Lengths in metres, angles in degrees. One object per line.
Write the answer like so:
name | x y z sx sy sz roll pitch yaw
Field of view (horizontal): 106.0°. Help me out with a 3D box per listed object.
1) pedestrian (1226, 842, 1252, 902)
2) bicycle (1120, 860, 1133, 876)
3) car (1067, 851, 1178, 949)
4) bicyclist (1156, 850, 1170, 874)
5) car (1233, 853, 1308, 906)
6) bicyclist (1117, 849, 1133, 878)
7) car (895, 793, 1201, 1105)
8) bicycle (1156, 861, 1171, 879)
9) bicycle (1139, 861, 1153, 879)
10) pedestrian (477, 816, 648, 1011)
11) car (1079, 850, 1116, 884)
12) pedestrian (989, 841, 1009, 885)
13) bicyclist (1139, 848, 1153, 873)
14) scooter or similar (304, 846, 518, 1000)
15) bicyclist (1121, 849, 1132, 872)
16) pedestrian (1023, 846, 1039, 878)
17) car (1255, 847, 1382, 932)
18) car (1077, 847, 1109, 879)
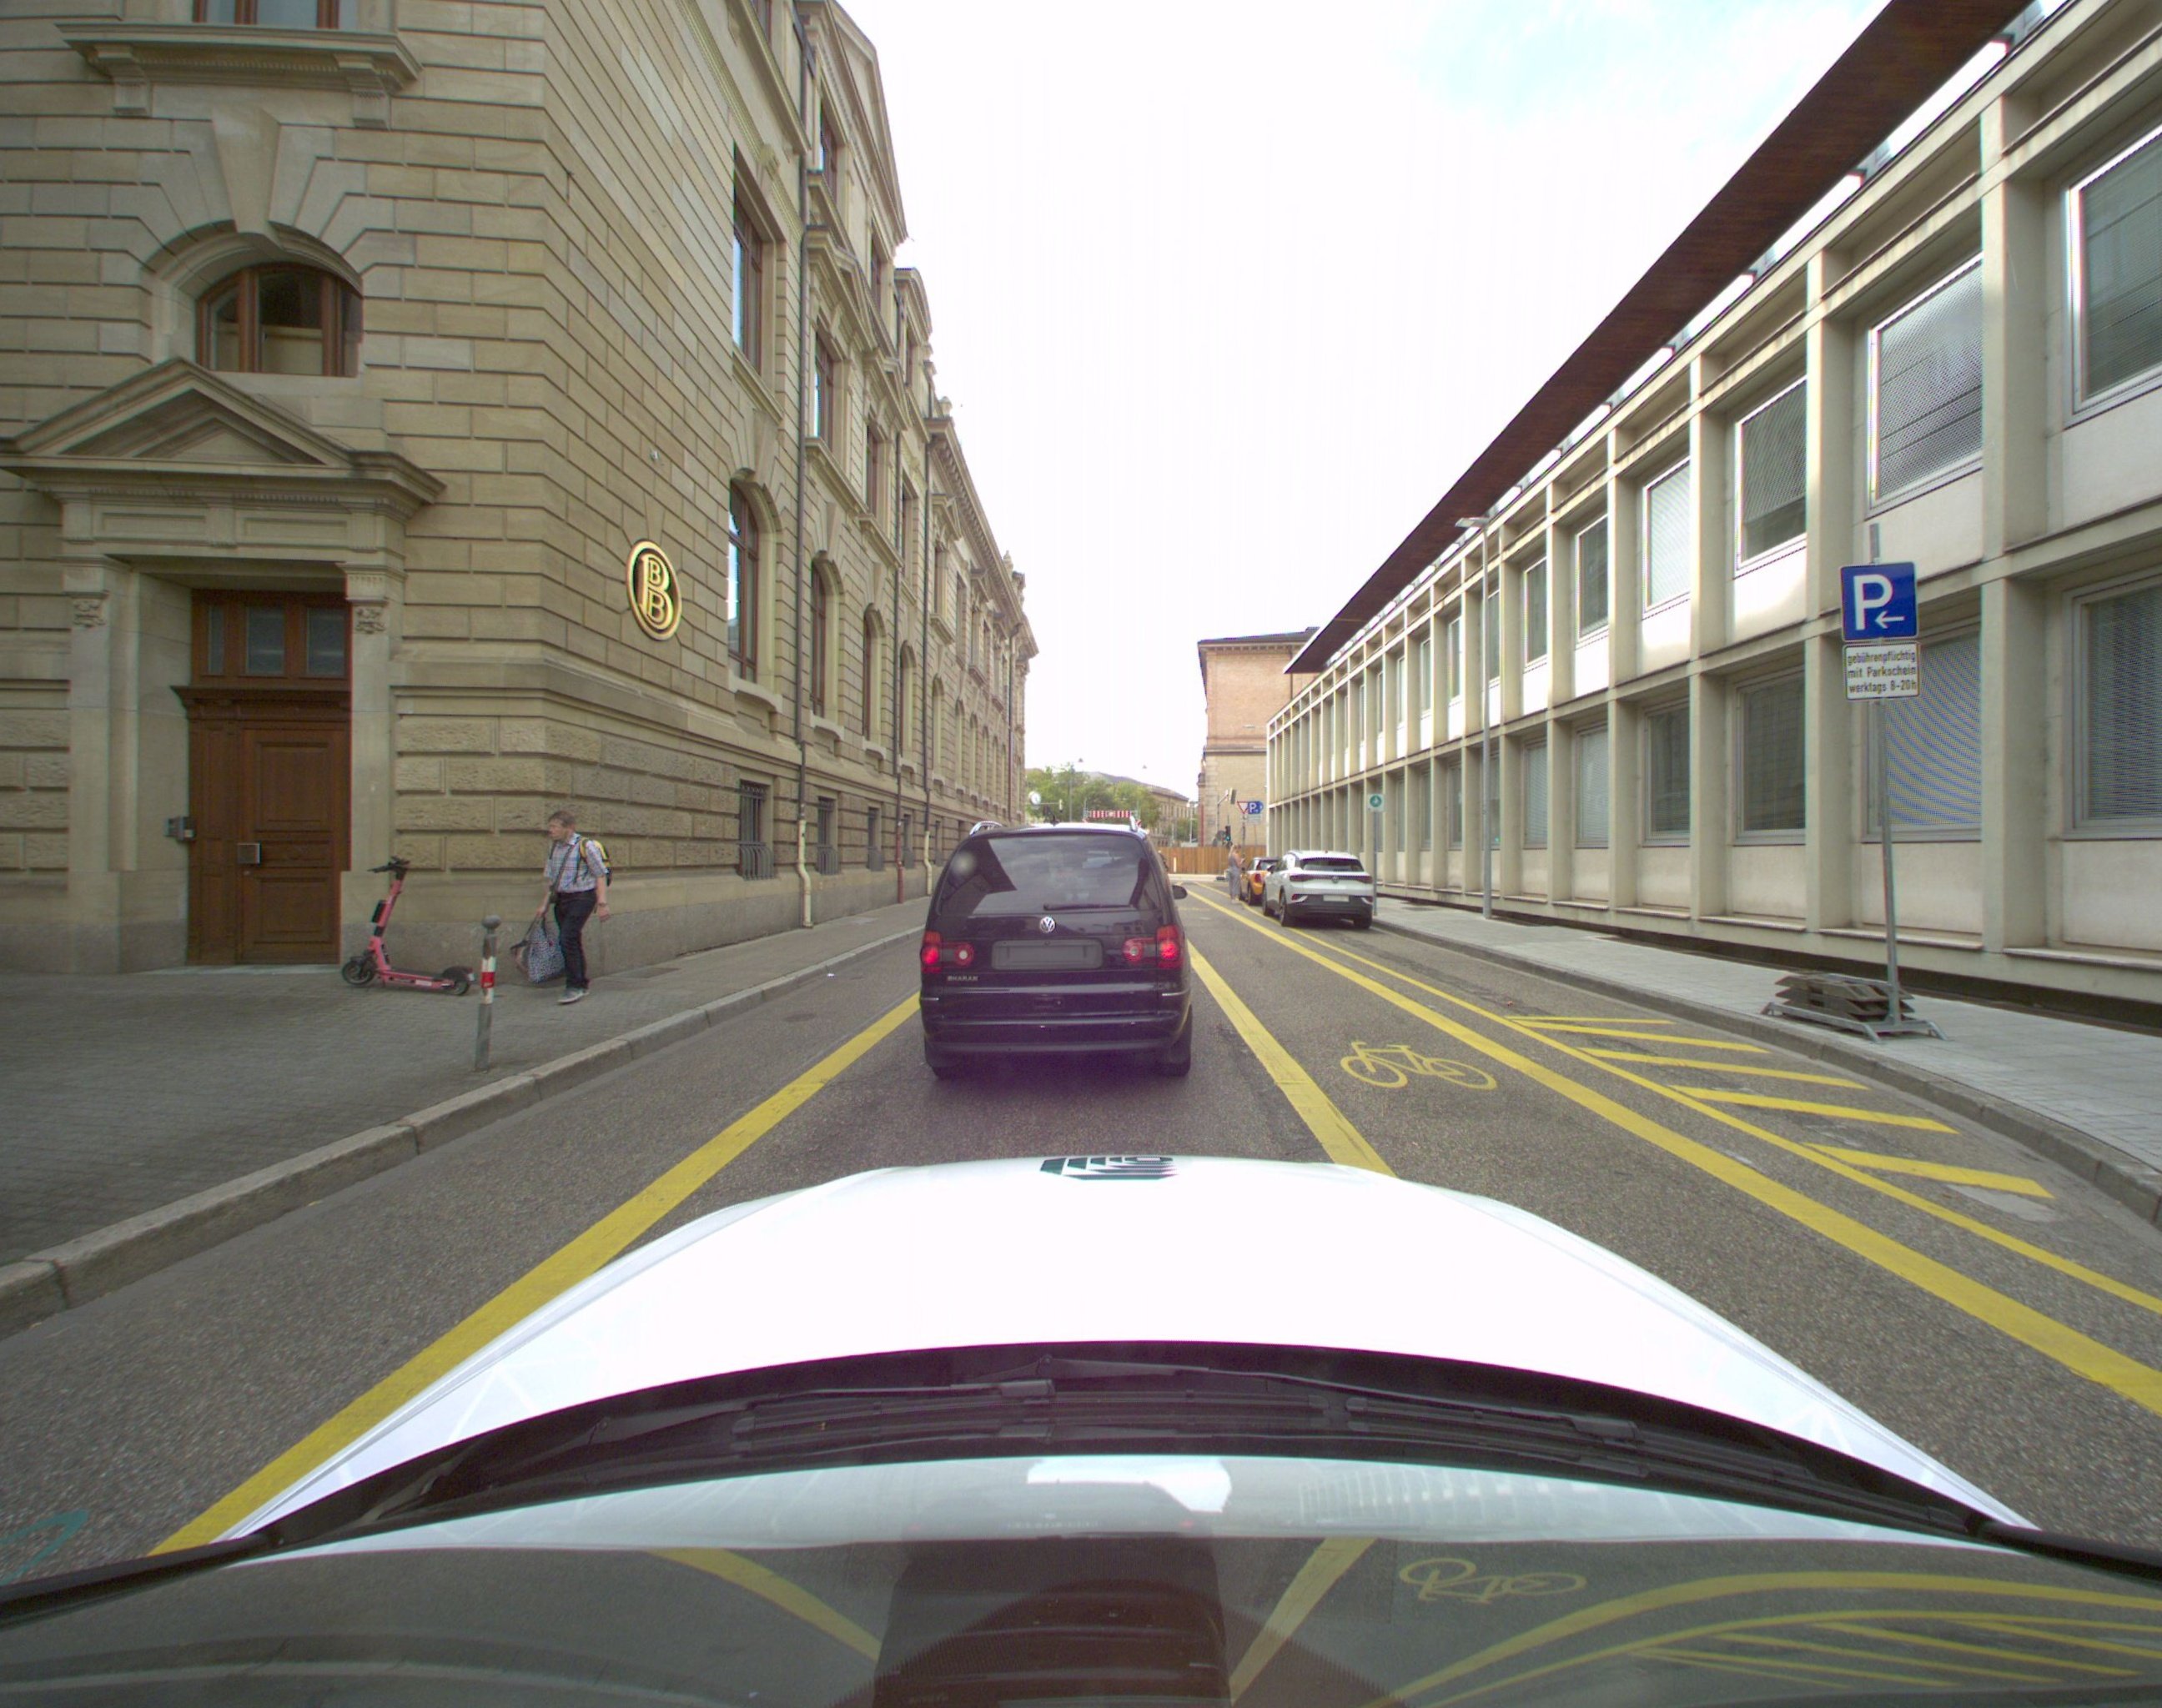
pedestrian | 4.768 0.538 24.591 0.694 1.764 0.707 0 -1 5
bicycle | 2.928 0.893 52.575 0.732 1.009 2.069 0 -1 2
car | 0.791 0.701 14.306 1.670 1.469 4.108 0 0 5
bicyclist | 4.794 0.453 47.606 0.732 1.375 0.832 0 -1 1
car | 5.754 0.746 25.136 1.672 1.435 3.891 3 0 5
bicyclist | 2.220 0.485 41.125 0.732 1.478 0.885 0 -1 1
car | -0.028 0.555 6.778 1.781 1.790 4.108 0 0 5
bicycle | 4.795 0.926 47.617 0.732 1.009 2.069 0 -1 2
bicycle | 3.676 0.901 46.193 0.732 1.009 2.069 0 -1 2
pedestrian | -4.880 0.535 7.732 1.022 1.720 0.819 2 -1 1
car | 0.840 0.639 40.394 1.766 1.586 4.001 0 -1 2
pedestrian | -3.502 0.397 34.692 0.661 1.819 1.048 2 -1 2
bicyclist | 3.676 0.370 46.183 0.732 1.377 0.829 0 -1 1
scooter or similar | -6.184 0.614 7.565 1.441 1.310 0.587 3 1 0
bicyclist | 2.931 0.433 52.540 0.732 1.470 0.809 0 -1 1
pedestrian | -2.873 0.485 47.283 0.789 1.819 1.048 2 -1 2
car | 5.229 0.712 18.521 1.851 1.605 4.518 3 0 5
car | 0.661 0.525 47.408 1.729 1.790 4.101 0 0 -1
